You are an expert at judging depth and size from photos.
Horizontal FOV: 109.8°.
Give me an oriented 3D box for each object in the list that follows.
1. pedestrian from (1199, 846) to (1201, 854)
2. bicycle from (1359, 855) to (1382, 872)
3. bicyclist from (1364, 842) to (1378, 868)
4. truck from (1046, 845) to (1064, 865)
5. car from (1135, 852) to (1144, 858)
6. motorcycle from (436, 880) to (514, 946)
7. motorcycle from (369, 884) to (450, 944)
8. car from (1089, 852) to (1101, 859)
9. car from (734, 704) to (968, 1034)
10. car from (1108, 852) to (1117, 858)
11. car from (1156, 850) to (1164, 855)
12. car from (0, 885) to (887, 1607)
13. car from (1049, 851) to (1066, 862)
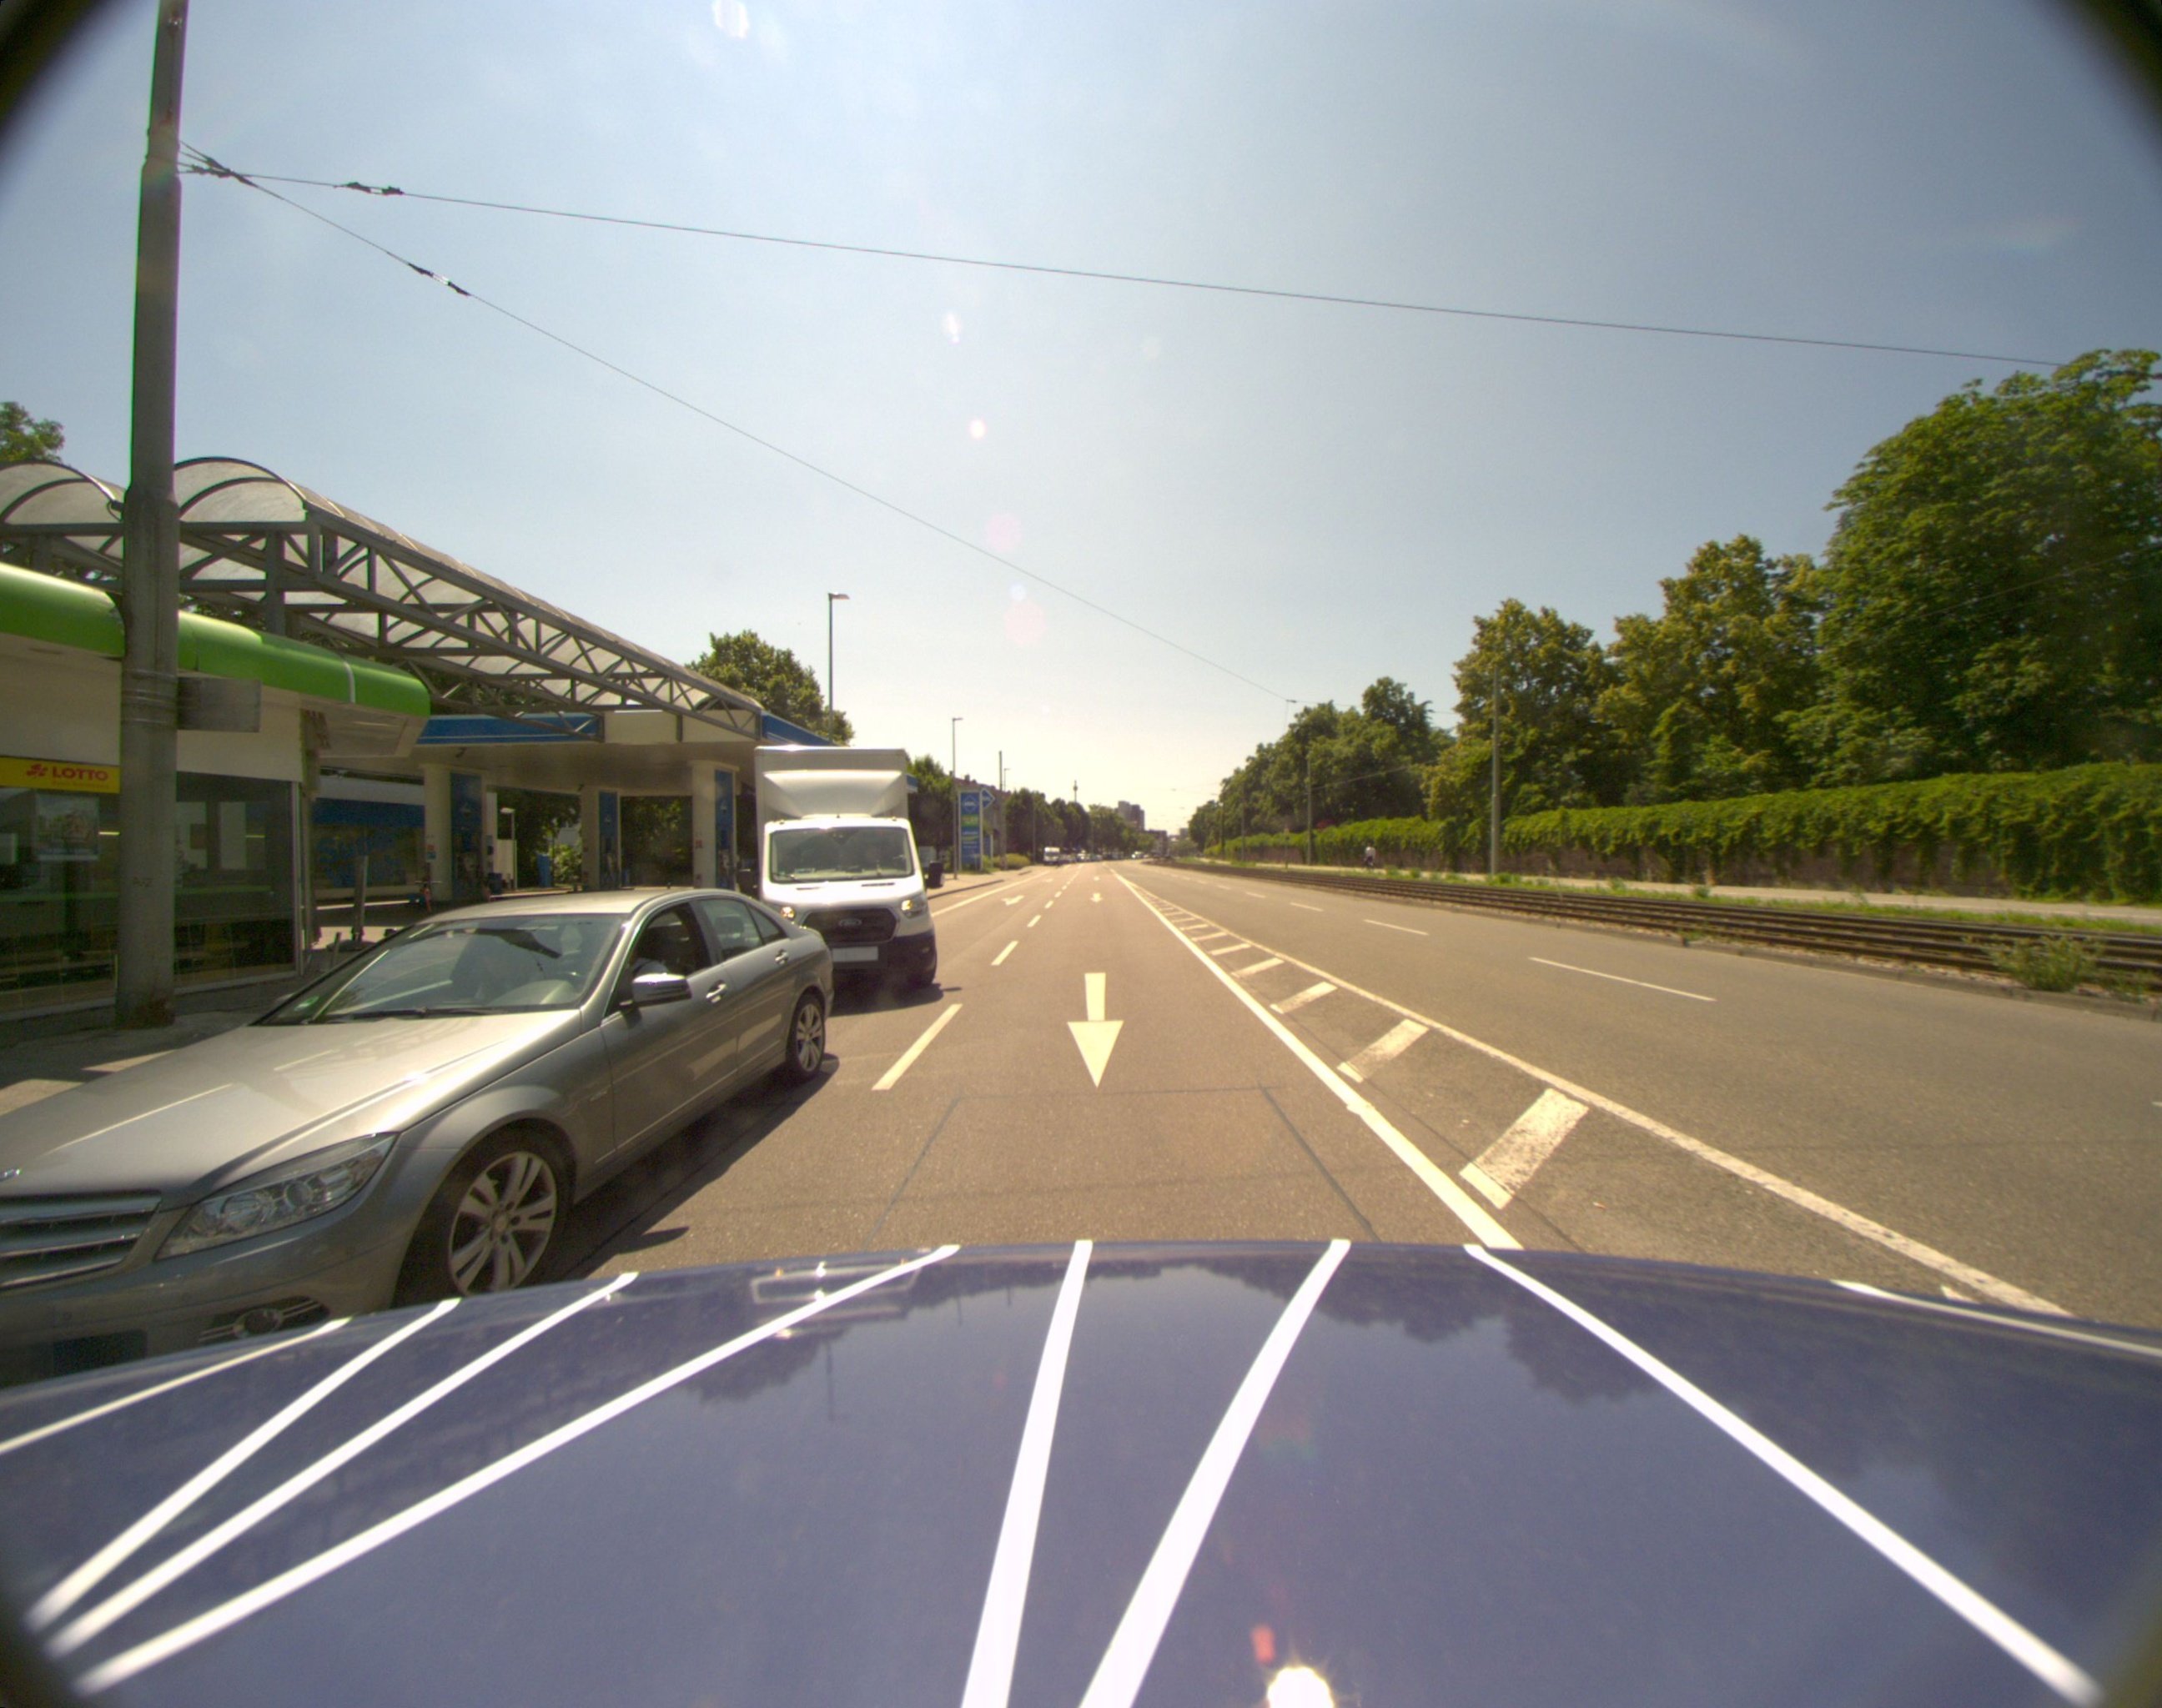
[{"bbox_3d":[26.446,-0.889,169.032,0.453,1.655,0.302,-2,0,1],"label":"pedestrian"},{"bbox_3d":[18.204,0.585,47.815,0.618,1.049,1.977,-2,1,-1],"label":"bicycle"},{"bbox_3d":[18.189,0.052,47.654,0.483,1.603,0.769,-2,1,0],"label":"bicyclist"},{"bbox_3d":[-3.408,0.095,101.506,1.998,2.462,5.237,-2,1,1],"label":"truck"},{"bbox_3d":[17.291,0.305,224.172,1.945,1.674,4.003,-2,1,12],"label":"car"},{"bbox_3d":[-11.598,1.124,14.557,1.157,1.203,0.364,1,-1,-1],"label":"motorcycle"},{"bbox_3d":[-12.844,1.138,14.542,1.157,1.107,0.396,1,-1,-1],"label":"motorcycle"},{"bbox_3d":[3.171,0.349,172.034,1.911,1.488,4.002,-2,1,10],"label":"car"},{"bbox_3d":[-3.952,0.141,12.023,2.233,3.316,8.620,-3,1,-22],"label":"car"},{"bbox_3d":[8.353,0.289,203.205,1.911,1.488,4.002,-2,1,10],"label":"car"},{"bbox_3d":[23.653,-0.368,226.960,1.800,1.488,3.967,-2,0,15],"label":"car"},{"bbox_3d":[-2.788,1.054,4.433,1.717,1.464,5.302,-3,0,2],"label":"car"},{"bbox_3d":[-3.337,0.364,108.846,1.912,1.488,4.001,-2,1,4],"label":"car"}]
